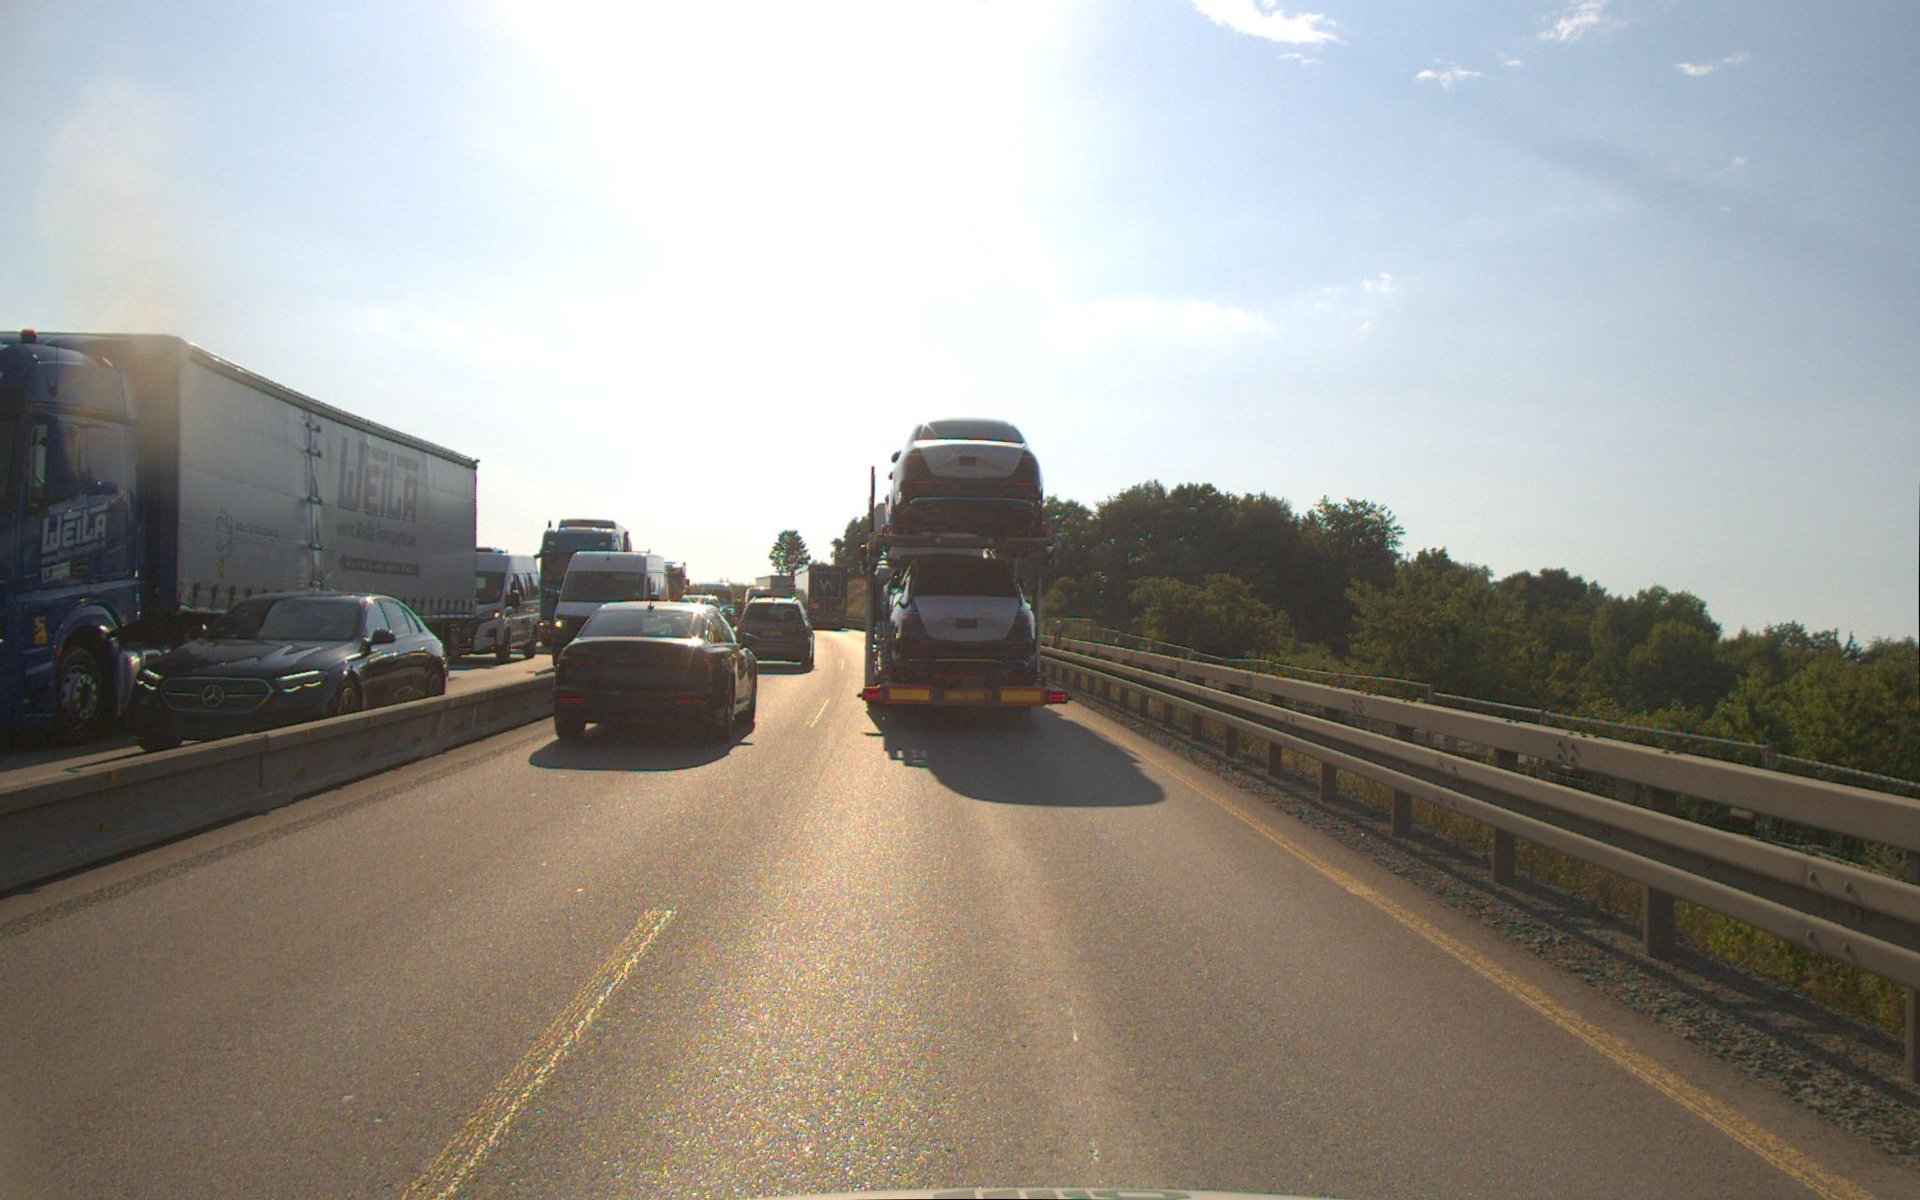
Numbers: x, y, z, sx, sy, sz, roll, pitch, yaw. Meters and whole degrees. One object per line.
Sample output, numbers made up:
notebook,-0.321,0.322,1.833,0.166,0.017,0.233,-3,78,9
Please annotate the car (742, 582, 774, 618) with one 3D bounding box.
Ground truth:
car,-14.752,0.019,120.959,1.882,2.536,5.405,1,0,-3

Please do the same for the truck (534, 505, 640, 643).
truck,-11.832,-0.778,52.929,2.454,4.137,5.878,1,0,-5

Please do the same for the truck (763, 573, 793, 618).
truck,-15.750,-0.360,143.106,2.482,3.712,8.893,1,0,-6

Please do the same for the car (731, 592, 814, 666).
car,-4.310,0.656,38.531,1.658,1.624,3.997,1,0,-3

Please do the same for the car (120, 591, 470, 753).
car,-6.522,0.640,16.846,1.723,1.402,4.766,1,0,-1

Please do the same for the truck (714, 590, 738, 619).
truck,-27.135,0.530,191.809,2.541,3.226,6.668,1,0,-6

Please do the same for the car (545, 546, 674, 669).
car,-7.901,0.175,37.885,2.016,2.544,6.769,1,0,-5

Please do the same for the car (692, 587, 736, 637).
car,-12.966,0.606,87.466,2.064,2.526,6.058,1,0,-7

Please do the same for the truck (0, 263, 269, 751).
truck,-9.373,-0.789,16.808,2.453,4.137,5.662,1,0,-2

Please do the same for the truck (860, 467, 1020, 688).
truck,-0.618,-0.367,34.017,2.781,3.858,9.980,1,0,-3

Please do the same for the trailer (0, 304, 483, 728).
trailer,-9.686,-0.805,23.708,2.261,4.203,14.590,1,0,-3

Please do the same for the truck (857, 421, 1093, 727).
truck,-0.113,-0.274,24.667,2.743,3.558,10.598,1,0,-3

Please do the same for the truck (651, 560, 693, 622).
truck,-18.328,-0.522,104.812,2.272,3.671,11.938,1,0,-11

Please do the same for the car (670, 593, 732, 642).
car,-9.452,0.632,60.585,1.833,1.724,4.592,1,0,-4

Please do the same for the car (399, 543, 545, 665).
car,-11.199,0.104,38.373,2.115,2.602,5.583,1,0,-5

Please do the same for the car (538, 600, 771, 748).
car,-3.310,0.735,18.869,1.896,1.423,4.958,1,0,-2

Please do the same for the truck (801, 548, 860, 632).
truck,-8.751,-0.642,110.623,3.225,5.328,9.916,1,0,-8
